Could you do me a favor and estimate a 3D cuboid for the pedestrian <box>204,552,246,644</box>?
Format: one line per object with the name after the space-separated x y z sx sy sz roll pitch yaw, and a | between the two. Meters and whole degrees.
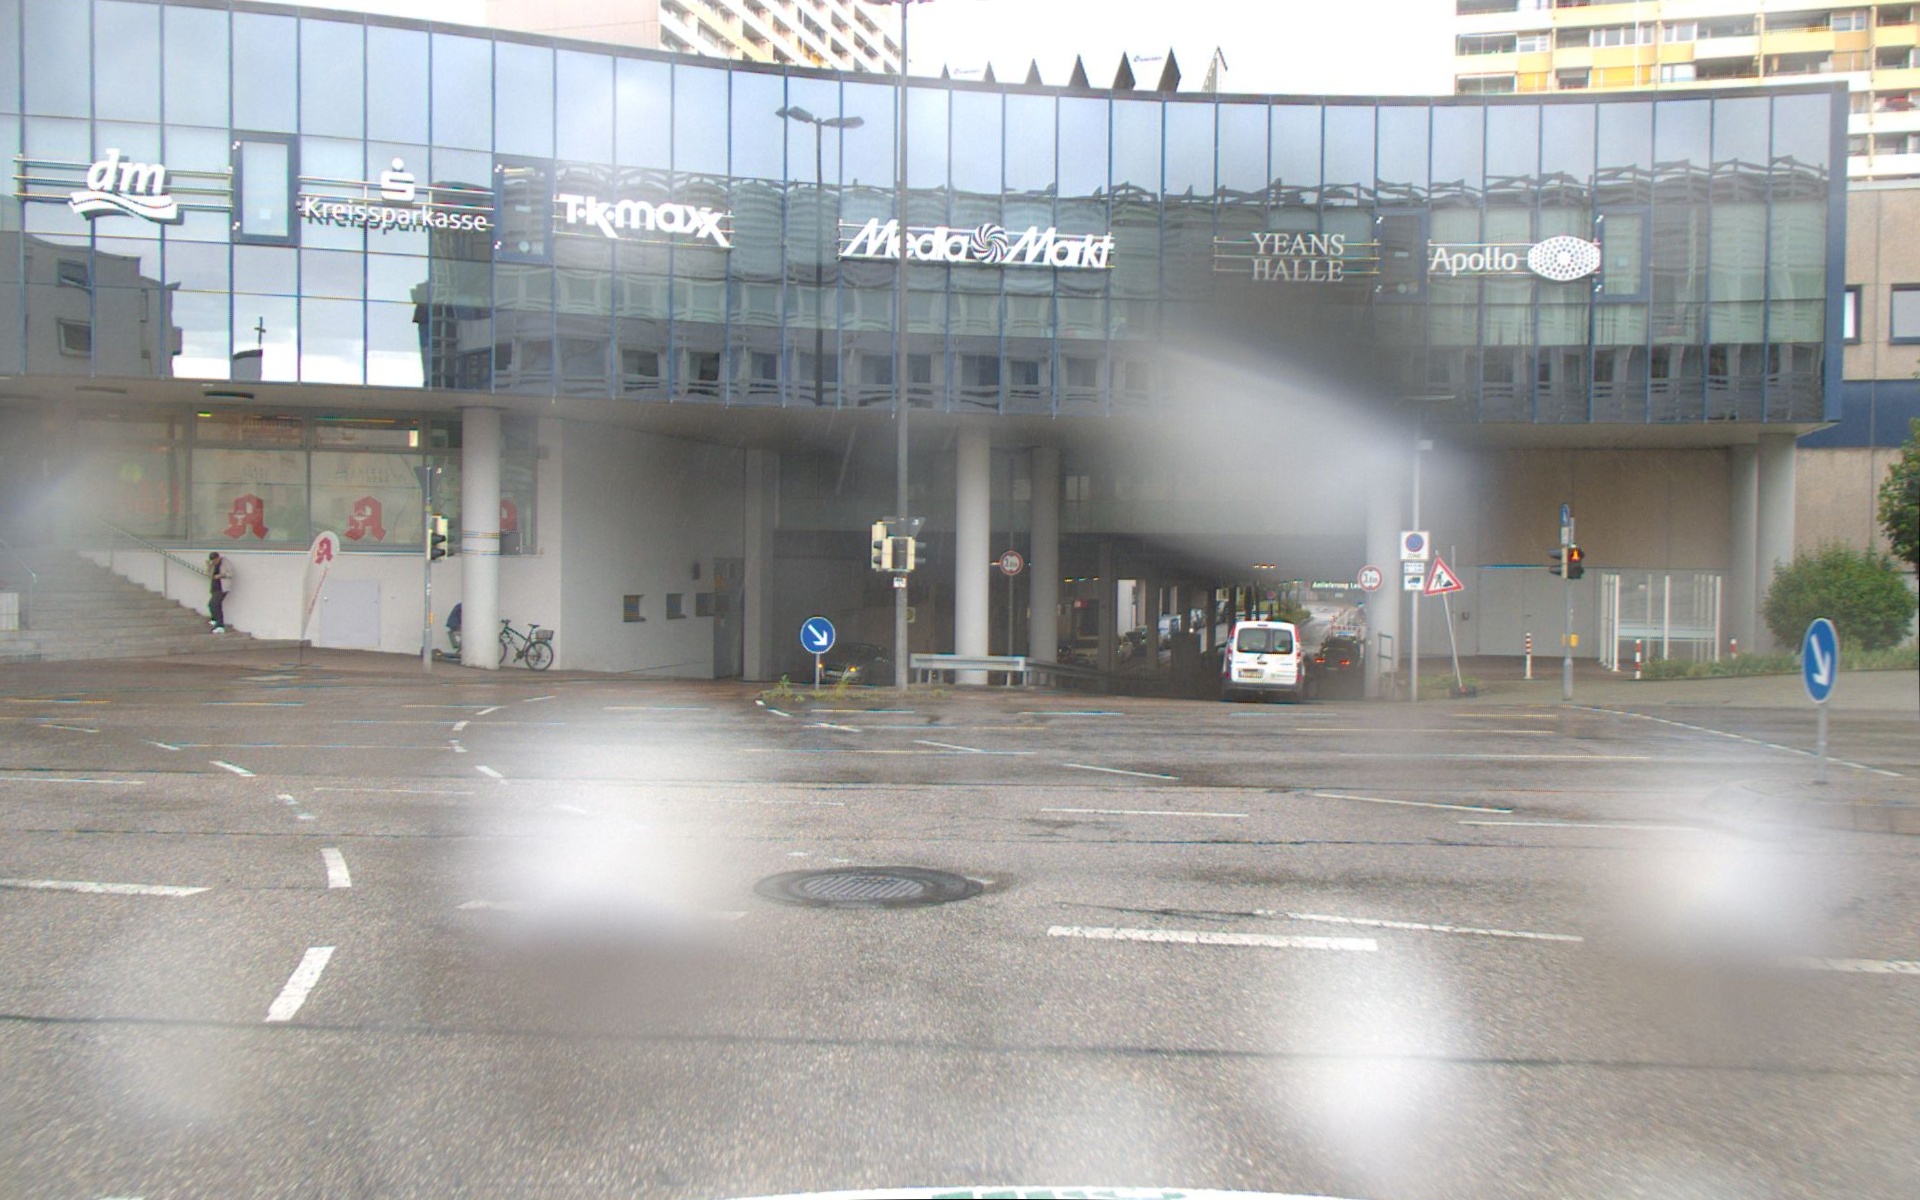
-15.699 -0.049 35.341 0.644 1.941 0.593 2 0 -10 | pedestrian

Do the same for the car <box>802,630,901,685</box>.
-3.288 1.803 51.104 1.852 1.495 4.029 1 -4 14 | car

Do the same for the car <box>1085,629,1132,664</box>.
8.189 2.536 91.106 1.951 1.692 4.003 2 1 14 | car

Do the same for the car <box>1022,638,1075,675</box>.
4.308 2.727 80.187 1.874 1.615 3.942 0 0 14 | car

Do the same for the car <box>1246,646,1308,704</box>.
9.542 2.276 49.601 1.598 1.640 4.265 0 -4 14 | car

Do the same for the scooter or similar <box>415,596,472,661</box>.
-11.385 0.630 36.502 1.148 1.397 0.487 2 0 -17 | scooter or similar

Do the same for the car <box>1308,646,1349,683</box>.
17.858 3.106 80.296 1.848 1.517 3.844 2 0 12 | car

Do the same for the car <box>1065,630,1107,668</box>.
6.498 2.480 84.889 1.797 1.758 4.003 1 0 9 | car

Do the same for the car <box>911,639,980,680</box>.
-0.528 2.250 63.140 1.733 1.489 3.878 0 -2 14 | car

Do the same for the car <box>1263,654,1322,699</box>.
11.082 2.517 54.966 1.741 1.425 4.002 0 -2 14 | car

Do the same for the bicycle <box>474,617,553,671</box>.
-9.969 0.976 36.958 1.567 1.035 0.447 7 -2 -33 | bicycle

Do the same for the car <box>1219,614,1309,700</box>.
6.845 1.248 37.596 1.885 1.829 4.300 0 -1 9 | car

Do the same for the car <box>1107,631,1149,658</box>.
10.054 2.629 98.627 1.951 1.489 4.003 0 0 14 | car

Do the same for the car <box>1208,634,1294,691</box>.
8.012 1.731 45.267 1.721 1.490 3.943 0 -3 19 | car
